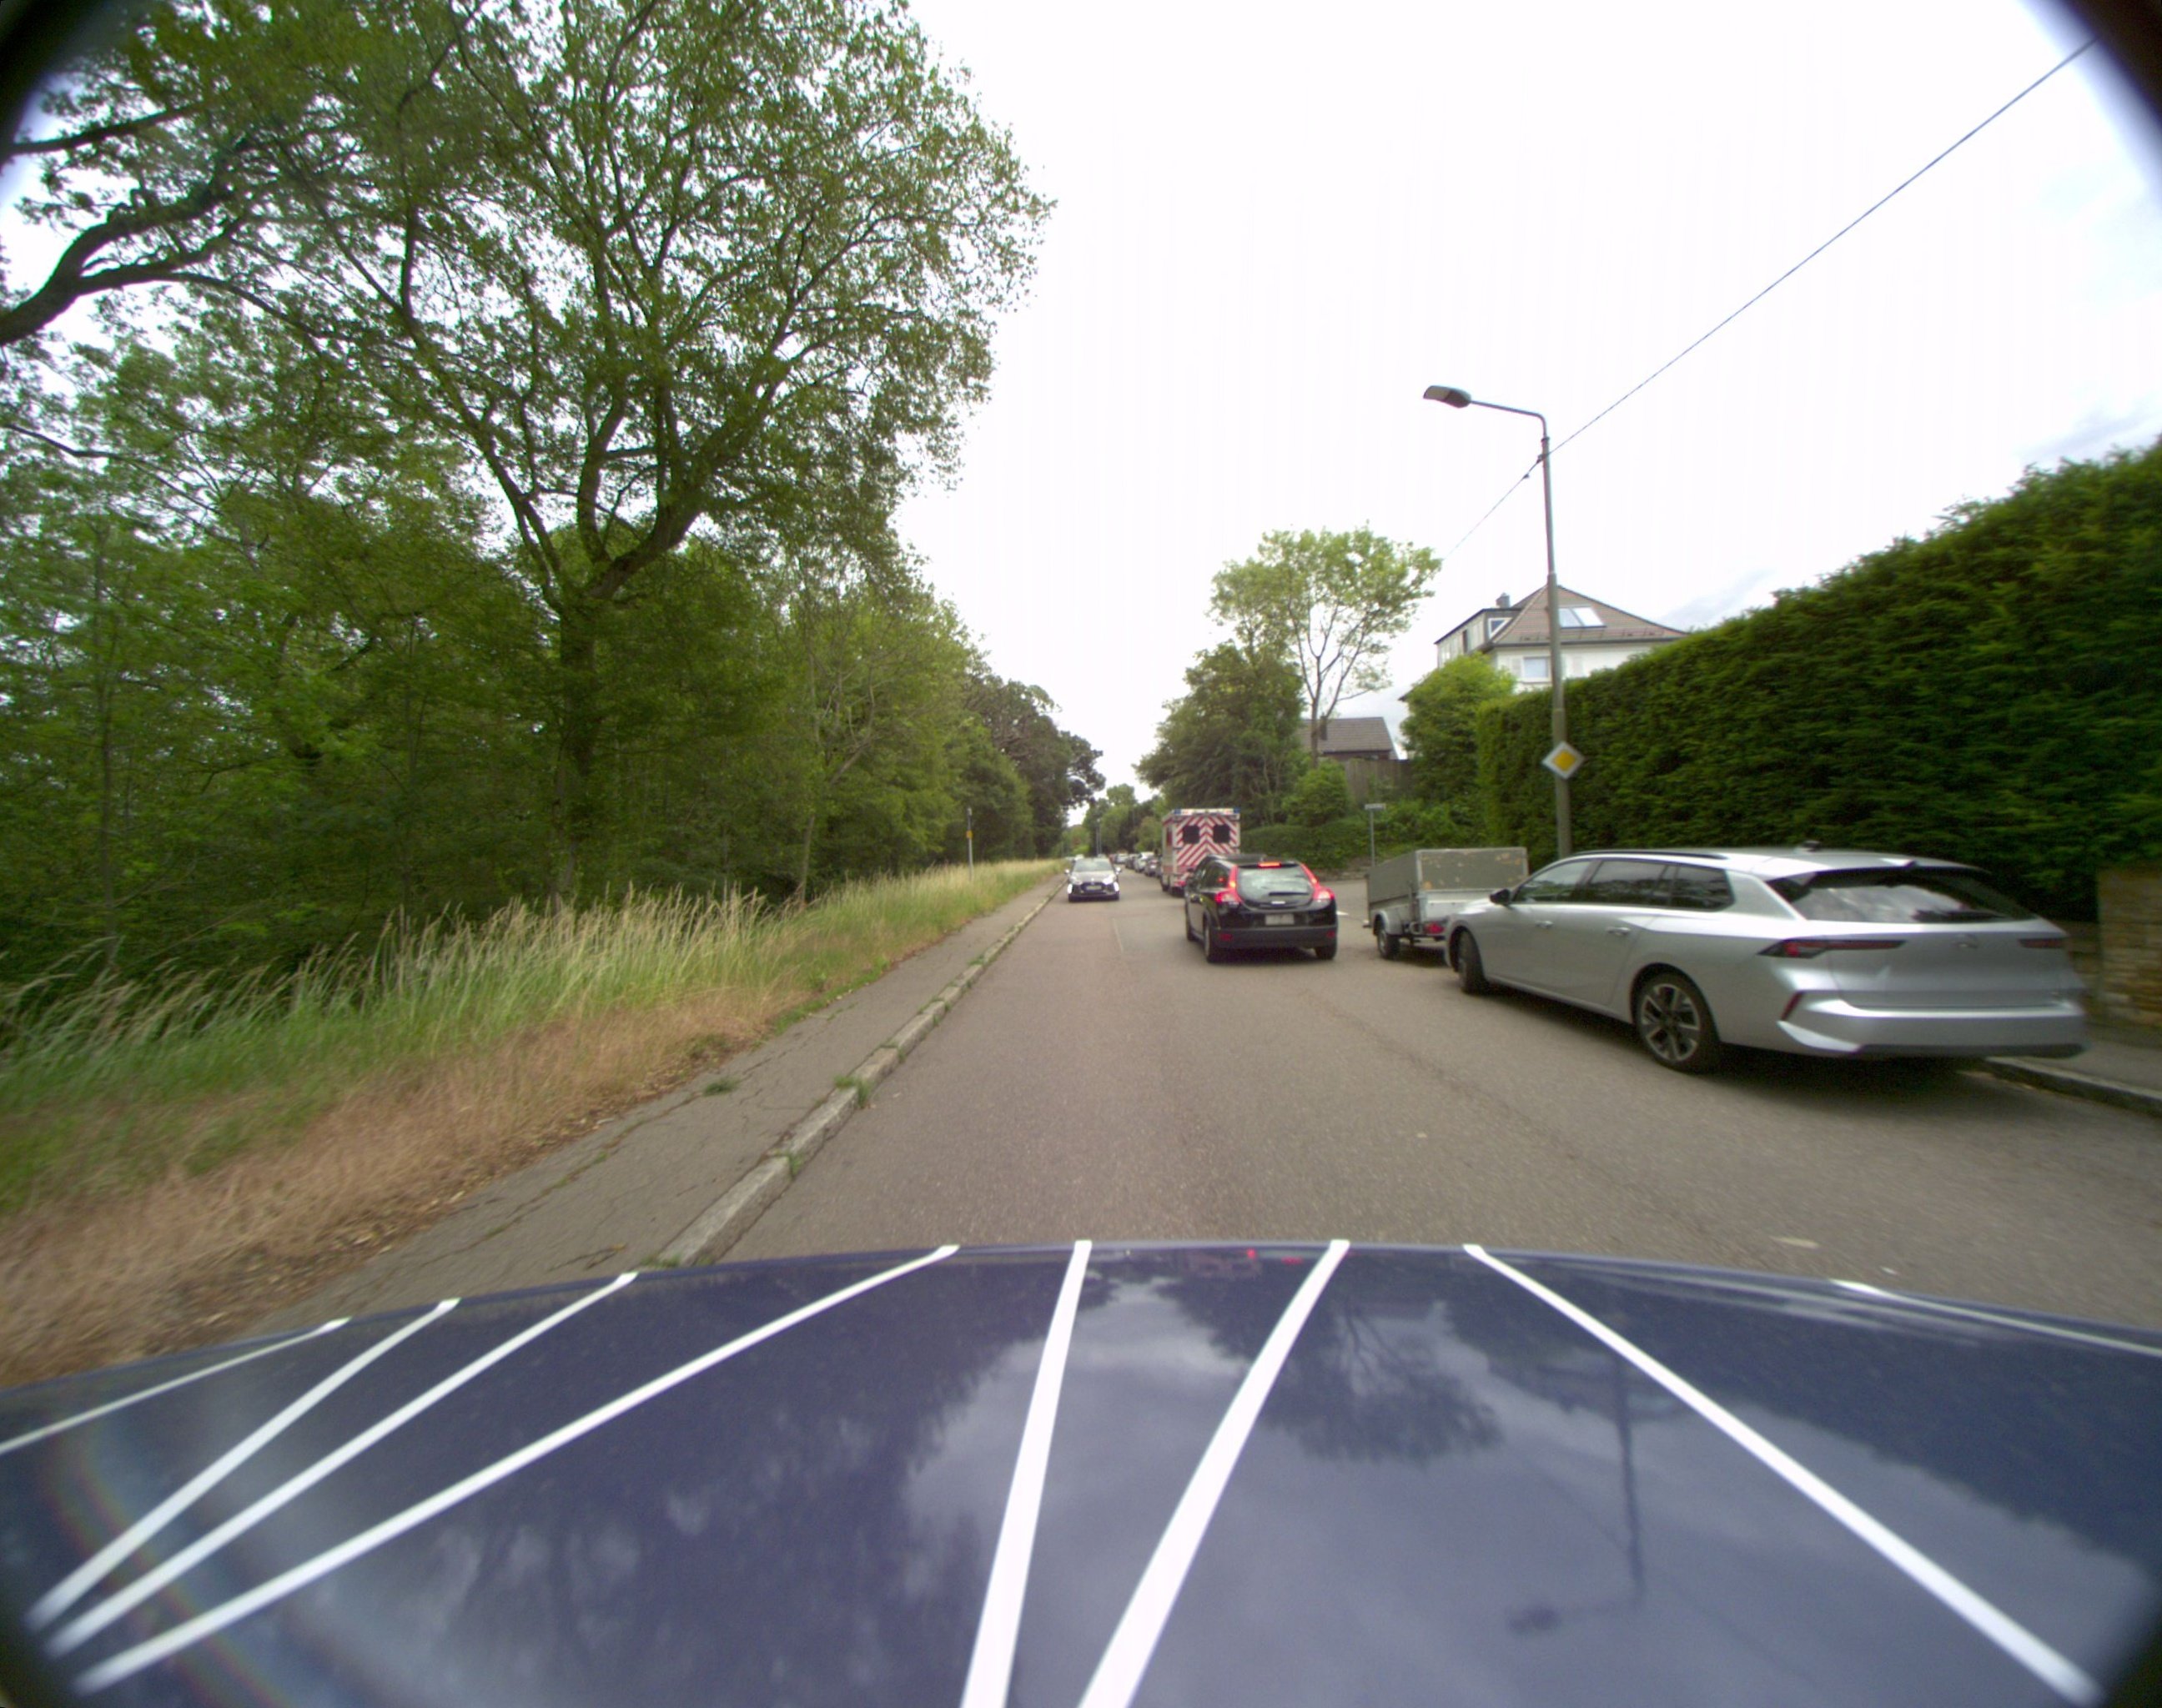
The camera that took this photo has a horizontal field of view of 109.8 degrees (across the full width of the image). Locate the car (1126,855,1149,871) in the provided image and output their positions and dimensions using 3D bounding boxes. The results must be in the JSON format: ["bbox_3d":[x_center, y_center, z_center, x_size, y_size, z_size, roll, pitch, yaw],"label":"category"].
[{"bbox_3d":[5.417,0.831,73.266,1.739,1.431,4.261,-1,0,-2],"label":"car"}]

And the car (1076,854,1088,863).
[{"bbox_3d":[0.268,0.832,151.059,1.999,1.678,4.709,-3,0,-3],"label":"car"}]

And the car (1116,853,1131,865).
[{"bbox_3d":[5.981,0.689,107.501,1.788,1.491,4.014,-3,0,0],"label":"car"}]

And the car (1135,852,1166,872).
[{"bbox_3d":[5.461,0.610,60.341,1.921,1.553,4.603,0,0,-2],"label":"car"}]

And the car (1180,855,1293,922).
[{"bbox_3d":[3.771,0.768,19.238,1.768,1.437,4.472,-2,0,-2],"label":"car"}]

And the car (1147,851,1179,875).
[{"bbox_3d":[5.286,0.585,49.539,1.724,1.496,4.008,0,0,1],"label":"car"}]

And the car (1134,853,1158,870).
[{"bbox_3d":[5.720,0.684,67.734,1.839,1.431,4.116,-1,0,1],"label":"car"}]

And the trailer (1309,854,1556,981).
[{"bbox_3d":[4.946,0.774,11.485,1.767,1.487,4.474,-2,0,2],"label":"trailer"}]

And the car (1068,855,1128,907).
[{"bbox_3d":[0.525,0.847,25.553,1.788,1.491,4.014,-3,0,0],"label":"car"}]

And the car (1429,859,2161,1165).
[{"bbox_3d":[4.657,0.814,6.052,1.768,1.490,4.473,0,0,1],"label":"car"}]

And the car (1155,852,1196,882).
[{"bbox_3d":[4.965,0.661,40.552,1.802,1.496,4.864,0,0,3],"label":"car"}]

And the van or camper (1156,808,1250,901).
[{"bbox_3d":[4.190,0.000,27.519,2.462,2.878,7.168,-2,0,2],"label":"van or camper"}]

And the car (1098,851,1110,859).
[{"bbox_3d":[4.555,0.227,147.805,1.765,1.441,4.042,-3,0,-6],"label":"car"}]

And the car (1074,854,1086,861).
[{"bbox_3d":[-0.242,0.897,186.172,2.000,1.678,4.707,-3,0,-9],"label":"car"}]

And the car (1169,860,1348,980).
[{"bbox_3d":[2.514,0.862,11.885,1.768,1.437,4.473,-2,0,1],"label":"car"}]

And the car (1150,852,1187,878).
[{"bbox_3d":[5.165,0.632,45.283,1.724,1.496,4.060,0,0,0],"label":"car"}]

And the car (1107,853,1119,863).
[{"bbox_3d":[5.415,0.671,128.384,1.741,1.431,3.787,-3,0,-2],"label":"car"}]
